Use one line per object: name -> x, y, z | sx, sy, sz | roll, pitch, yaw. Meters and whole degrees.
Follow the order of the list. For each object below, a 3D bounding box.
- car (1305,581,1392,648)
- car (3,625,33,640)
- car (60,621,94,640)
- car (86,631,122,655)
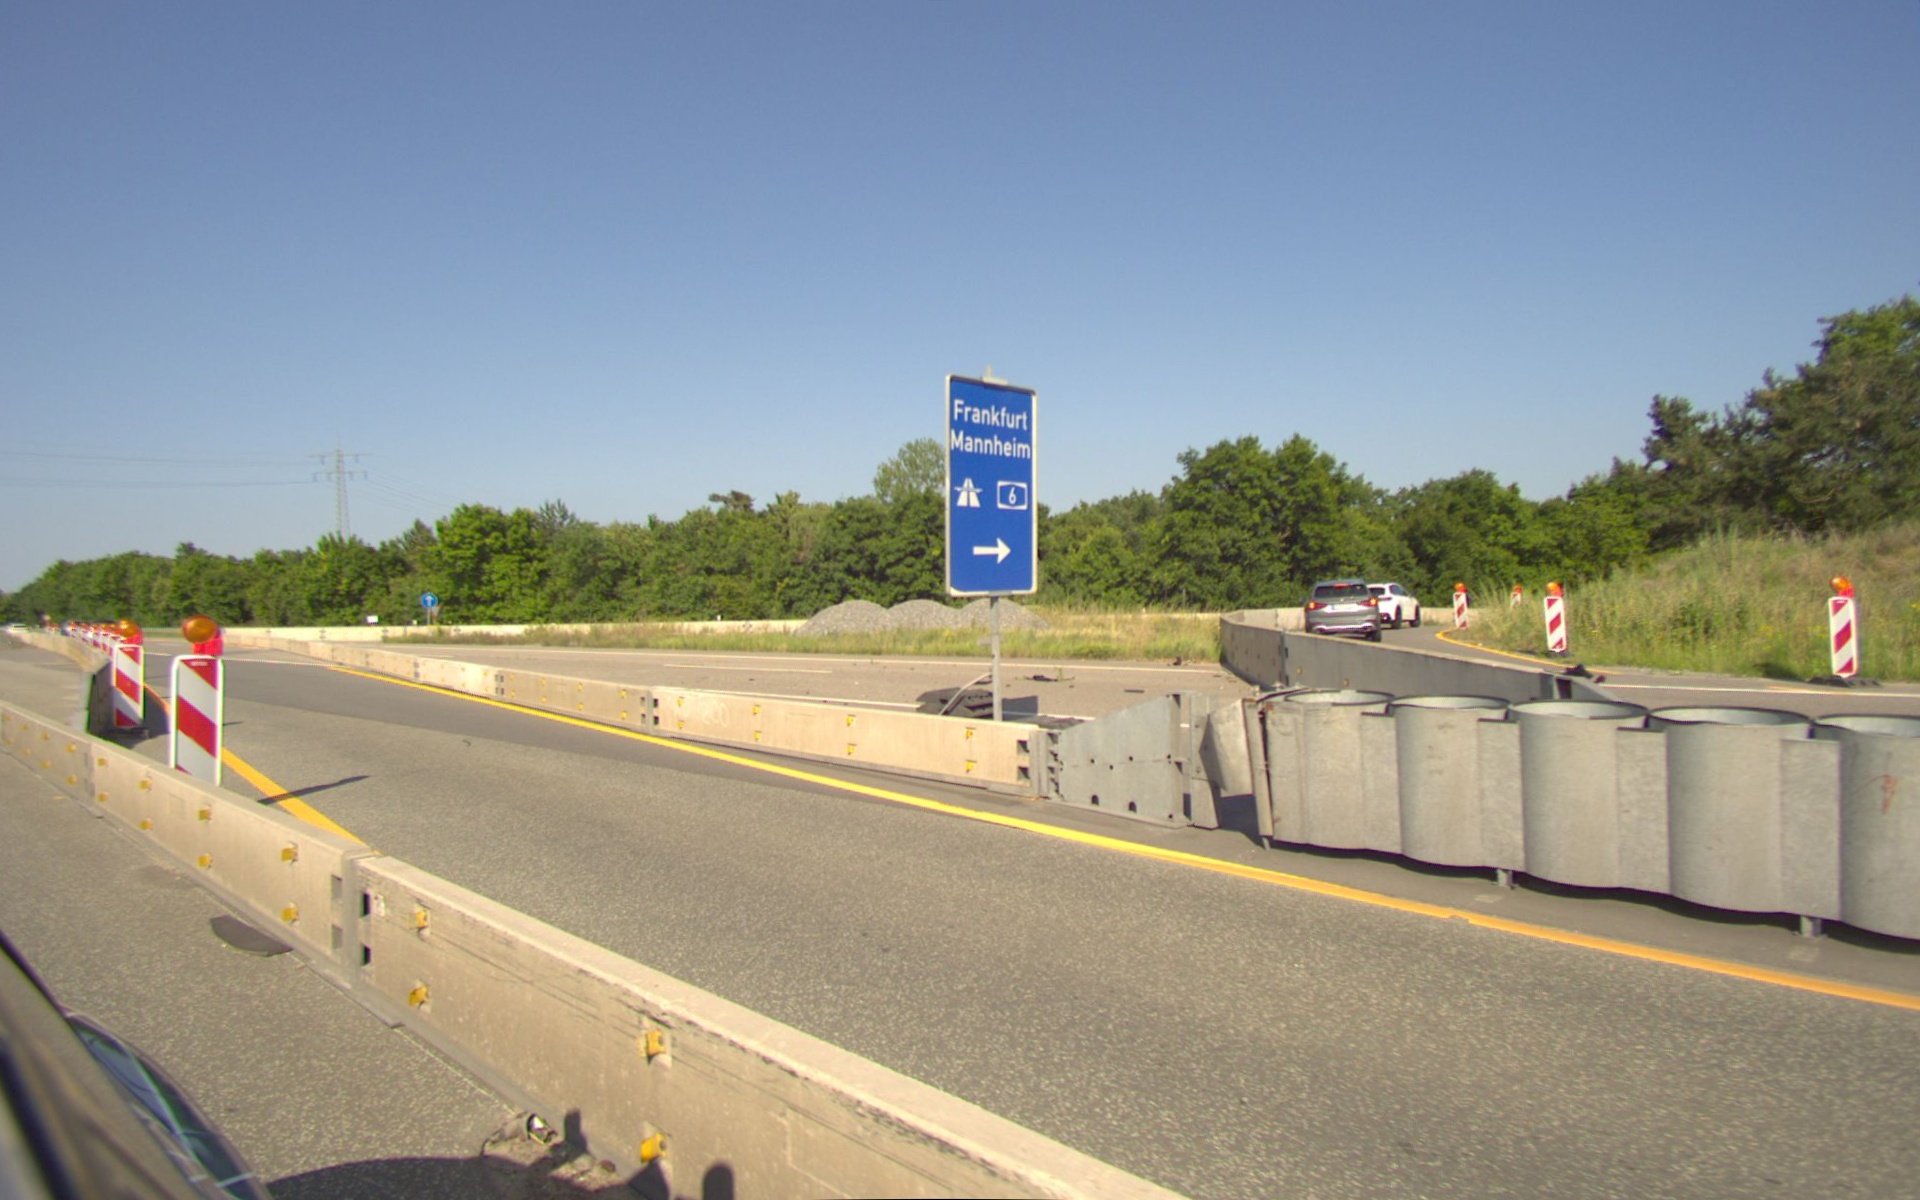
car -> 10.542, 0.354, 27.730 | 1.984, 1.634, 4.818 | -2, 0, 19
car -> -108.209, 3.681, 116.226 | 4.432, 1.620, 1.800 | -2, 0, 38
car -> -74.261, 2.545, 85.108 | 1.970, 1.527, 4.584 | -1, -1, -44
car -> -59.001, 2.924, 69.750 | 1.691, 1.527, 4.182 | -1, -1, -43
